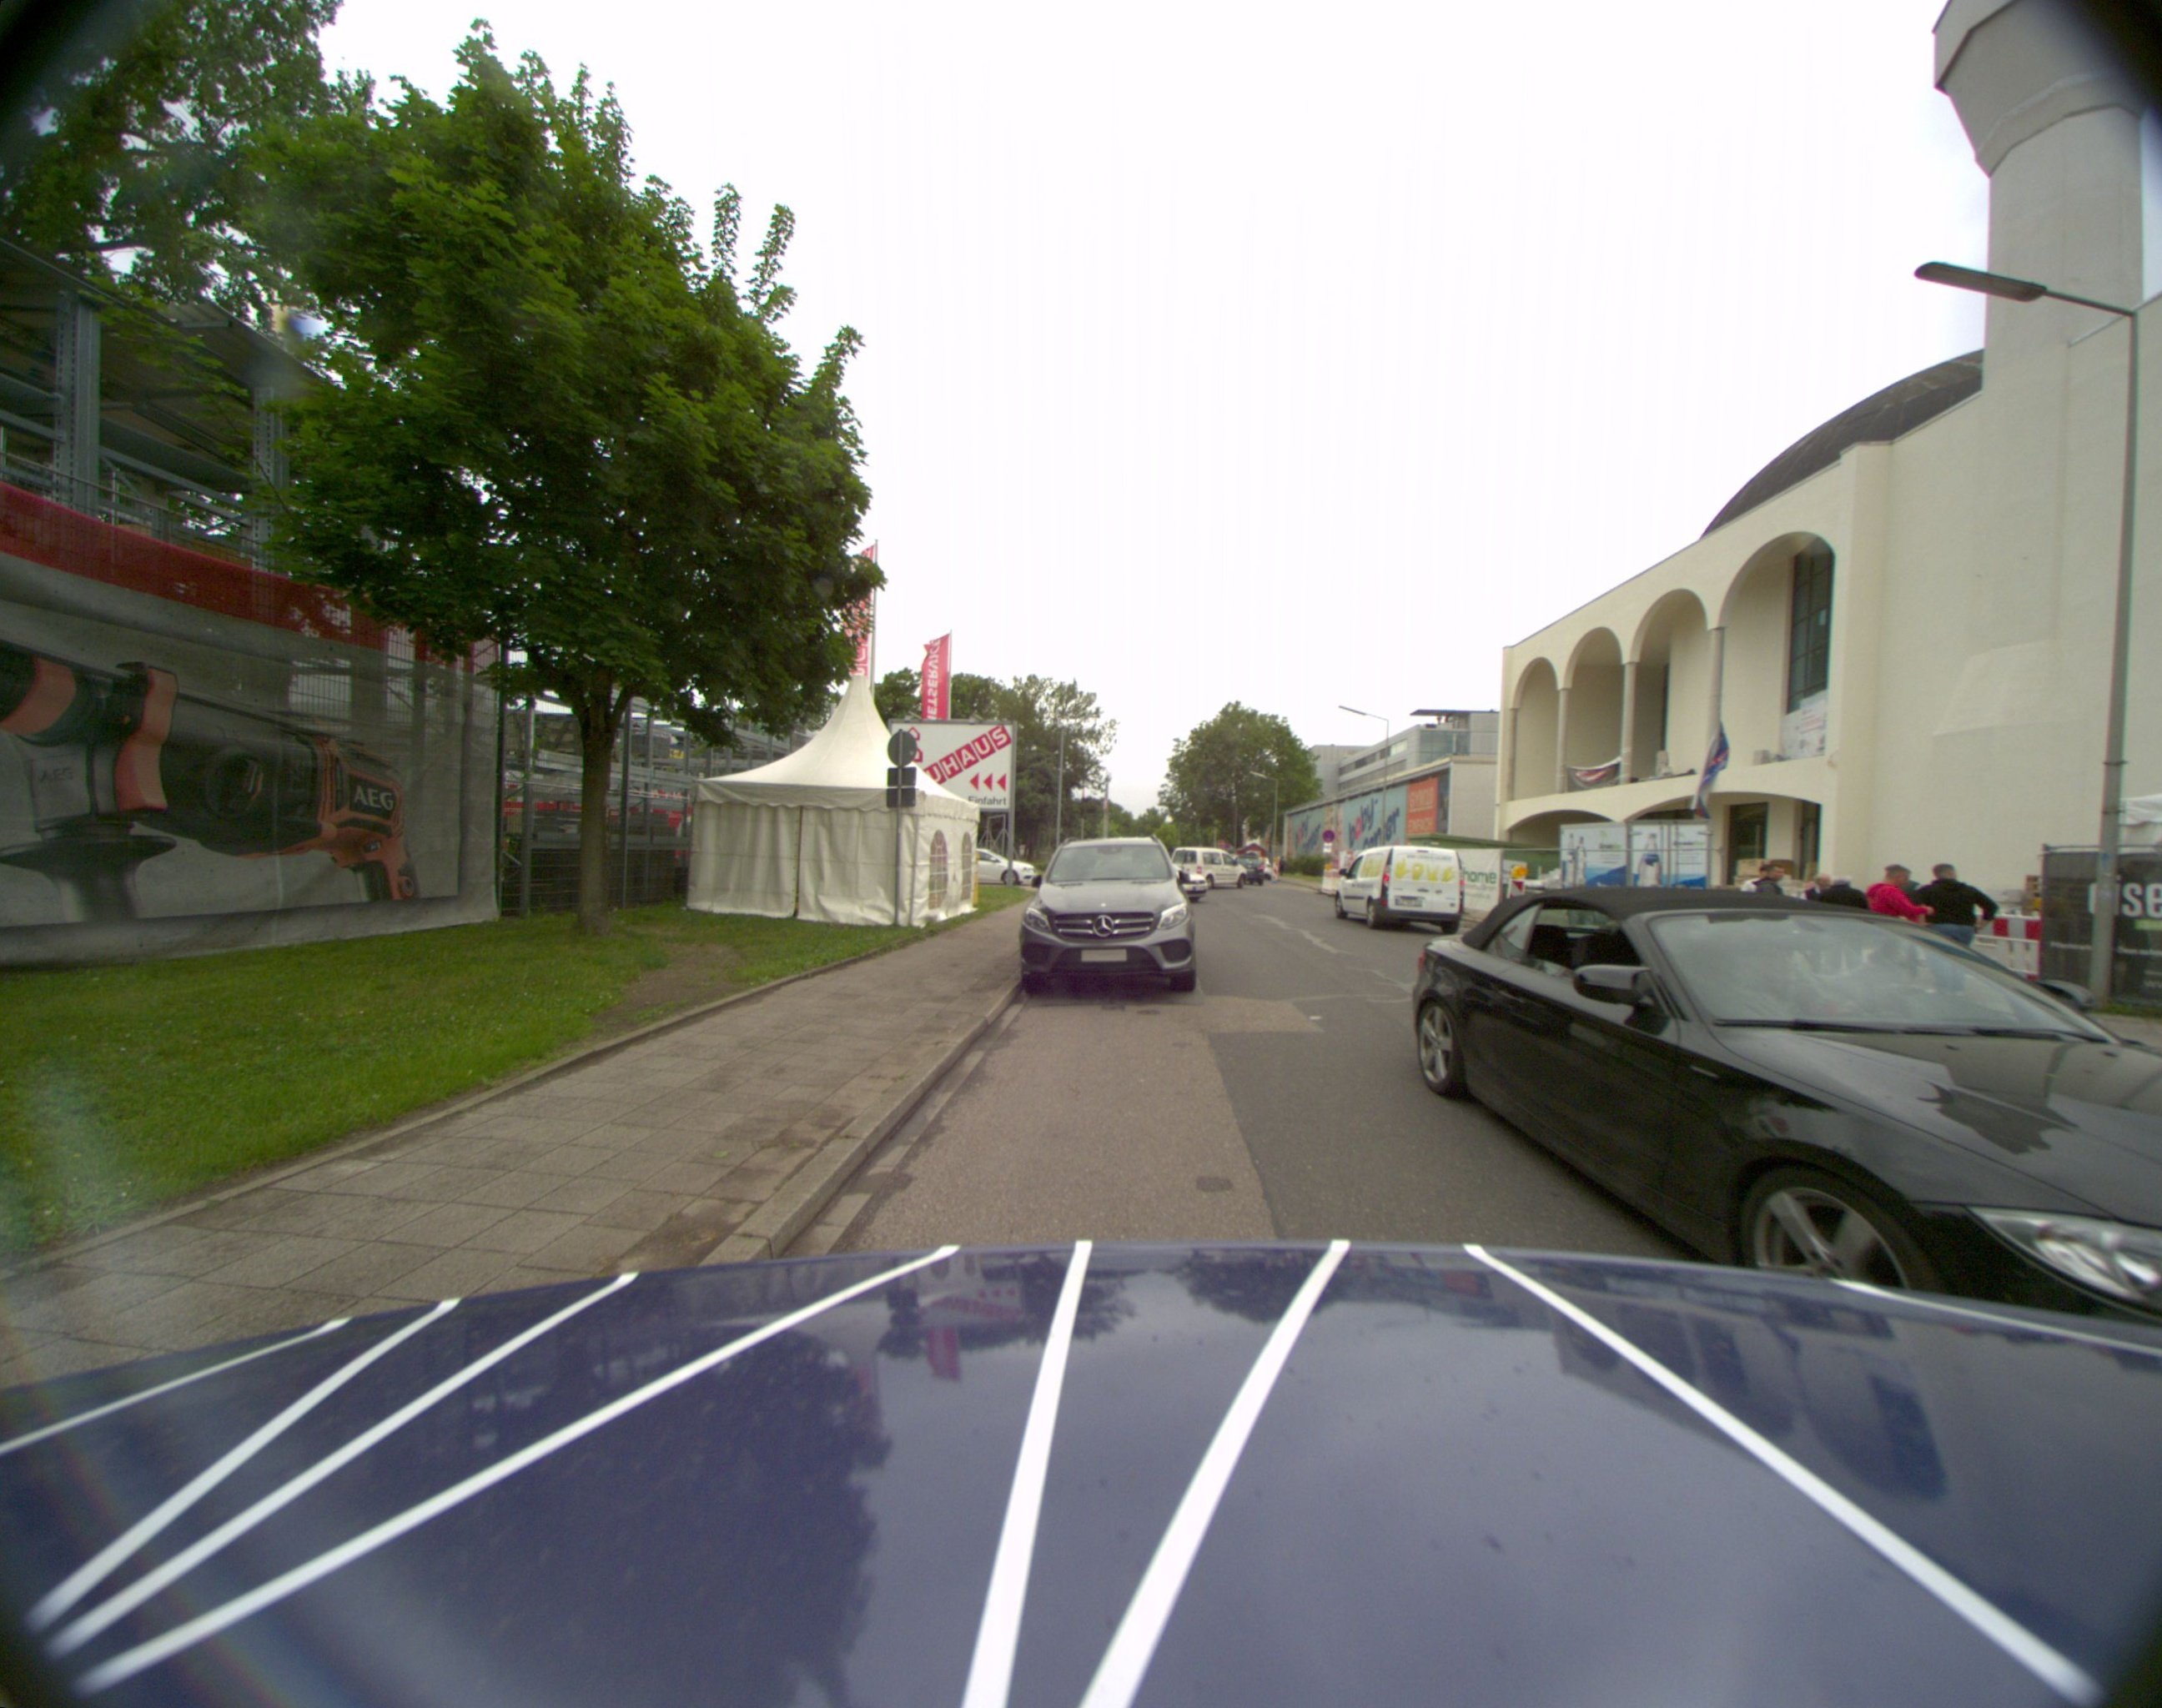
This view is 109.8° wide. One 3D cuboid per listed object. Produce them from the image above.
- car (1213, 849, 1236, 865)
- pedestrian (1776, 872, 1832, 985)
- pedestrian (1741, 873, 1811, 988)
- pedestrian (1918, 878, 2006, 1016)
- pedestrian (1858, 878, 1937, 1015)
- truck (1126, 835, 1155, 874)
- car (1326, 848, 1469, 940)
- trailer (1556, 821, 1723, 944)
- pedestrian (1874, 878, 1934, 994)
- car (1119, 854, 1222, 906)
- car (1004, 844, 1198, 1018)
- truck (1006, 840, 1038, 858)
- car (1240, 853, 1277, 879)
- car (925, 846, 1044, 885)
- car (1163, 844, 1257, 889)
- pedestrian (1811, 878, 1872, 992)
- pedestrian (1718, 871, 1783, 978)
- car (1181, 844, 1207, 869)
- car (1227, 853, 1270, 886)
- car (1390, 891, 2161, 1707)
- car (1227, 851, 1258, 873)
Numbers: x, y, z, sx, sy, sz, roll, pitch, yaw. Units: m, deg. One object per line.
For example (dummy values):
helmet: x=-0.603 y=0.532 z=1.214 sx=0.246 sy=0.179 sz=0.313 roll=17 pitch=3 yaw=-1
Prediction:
car: x=15.293 y=0.296 z=81.111 sx=1.928 sy=1.565 sz=4.151 roll=5 pitch=1 yaw=6
pedestrian: x=11.549 y=1.168 z=12.147 sx=0.492 sy=1.738 sz=0.527 roll=1 pitch=-2 yaw=-36
pedestrian: x=10.878 y=1.170 z=11.896 sx=0.492 sy=1.738 sz=0.690 roll=1 pitch=-2 yaw=-36
pedestrian: x=11.558 y=1.183 z=9.985 sx=0.689 sy=1.707 sz=0.694 roll=0 pitch=-2 yaw=-41
pedestrian: x=10.473 y=1.159 z=9.754 sx=0.533 sy=1.682 sz=0.512 roll=0 pitch=-2 yaw=-26
truck: x=4.079 y=0.018 z=52.309 sx=1.852 sy=2.597 sz=4.001 roll=-1 pitch=1 yaw=5
car: x=6.979 y=0.782 z=17.216 sx=1.693 sy=1.751 sz=4.135 roll=2 pitch=1 yaw=4
trailer: x=13.118 y=0.599 z=18.101 sx=1.801 sy=2.592 sz=3.193 roll=2 pitch=1 yaw=8
pedestrian: x=12.032 y=1.175 z=11.113 sx=0.542 sy=1.602 sz=0.489 roll=-1 pitch=2 yaw=-35
car: x=2.815 y=0.785 z=24.984 sx=1.760 sy=1.443 sz=4.289 roll=0 pitch=1 yaw=-18
car: x=0.410 y=0.762 z=9.851 sx=1.912 sy=1.731 sz=4.481 roll=-1 pitch=0 yaw=6
truck: x=-8.248 y=-0.744 z=105.714 sx=1.994 sy=2.383 sz=4.009 roll=3 pitch=1 yaw=45
car: x=12.543 y=0.806 z=53.840 sx=1.928 sy=1.565 sz=4.151 roll=5 pitch=1 yaw=6
car: x=-3.930 y=0.460 z=31.348 sx=4.489 sy=1.420 sz=1.940 roll=1 pitch=2 yaw=7
car: x=5.760 y=0.535 z=33.663 sx=4.393 sy=1.797 sz=1.795 roll=1 pitch=2 yaw=-45
pedestrian: x=11.034 y=1.148 z=11.038 sx=0.570 sy=1.601 sz=0.492 roll=-2 pitch=-2 yaw=44
pedestrian: x=11.207 y=1.155 z=12.730 sx=0.492 sy=1.738 sz=0.690 roll=1 pitch=-2 yaw=-36
car: x=9.811 y=0.200 z=66.316 sx=1.931 sy=2.002 sz=4.956 roll=2 pitch=1 yaw=6
car: x=9.002 y=0.791 z=41.140 sx=1.732 sy=1.563 sz=3.948 roll=4 pitch=1 yaw=5
car: x=2.962 y=0.998 z=3.235 sx=1.749 sy=1.351 sz=4.138 roll=1 pitch=1 yaw=3
car: x=13.175 y=0.649 z=62.266 sx=1.928 sy=1.565 sz=4.151 roll=5 pitch=1 yaw=6
